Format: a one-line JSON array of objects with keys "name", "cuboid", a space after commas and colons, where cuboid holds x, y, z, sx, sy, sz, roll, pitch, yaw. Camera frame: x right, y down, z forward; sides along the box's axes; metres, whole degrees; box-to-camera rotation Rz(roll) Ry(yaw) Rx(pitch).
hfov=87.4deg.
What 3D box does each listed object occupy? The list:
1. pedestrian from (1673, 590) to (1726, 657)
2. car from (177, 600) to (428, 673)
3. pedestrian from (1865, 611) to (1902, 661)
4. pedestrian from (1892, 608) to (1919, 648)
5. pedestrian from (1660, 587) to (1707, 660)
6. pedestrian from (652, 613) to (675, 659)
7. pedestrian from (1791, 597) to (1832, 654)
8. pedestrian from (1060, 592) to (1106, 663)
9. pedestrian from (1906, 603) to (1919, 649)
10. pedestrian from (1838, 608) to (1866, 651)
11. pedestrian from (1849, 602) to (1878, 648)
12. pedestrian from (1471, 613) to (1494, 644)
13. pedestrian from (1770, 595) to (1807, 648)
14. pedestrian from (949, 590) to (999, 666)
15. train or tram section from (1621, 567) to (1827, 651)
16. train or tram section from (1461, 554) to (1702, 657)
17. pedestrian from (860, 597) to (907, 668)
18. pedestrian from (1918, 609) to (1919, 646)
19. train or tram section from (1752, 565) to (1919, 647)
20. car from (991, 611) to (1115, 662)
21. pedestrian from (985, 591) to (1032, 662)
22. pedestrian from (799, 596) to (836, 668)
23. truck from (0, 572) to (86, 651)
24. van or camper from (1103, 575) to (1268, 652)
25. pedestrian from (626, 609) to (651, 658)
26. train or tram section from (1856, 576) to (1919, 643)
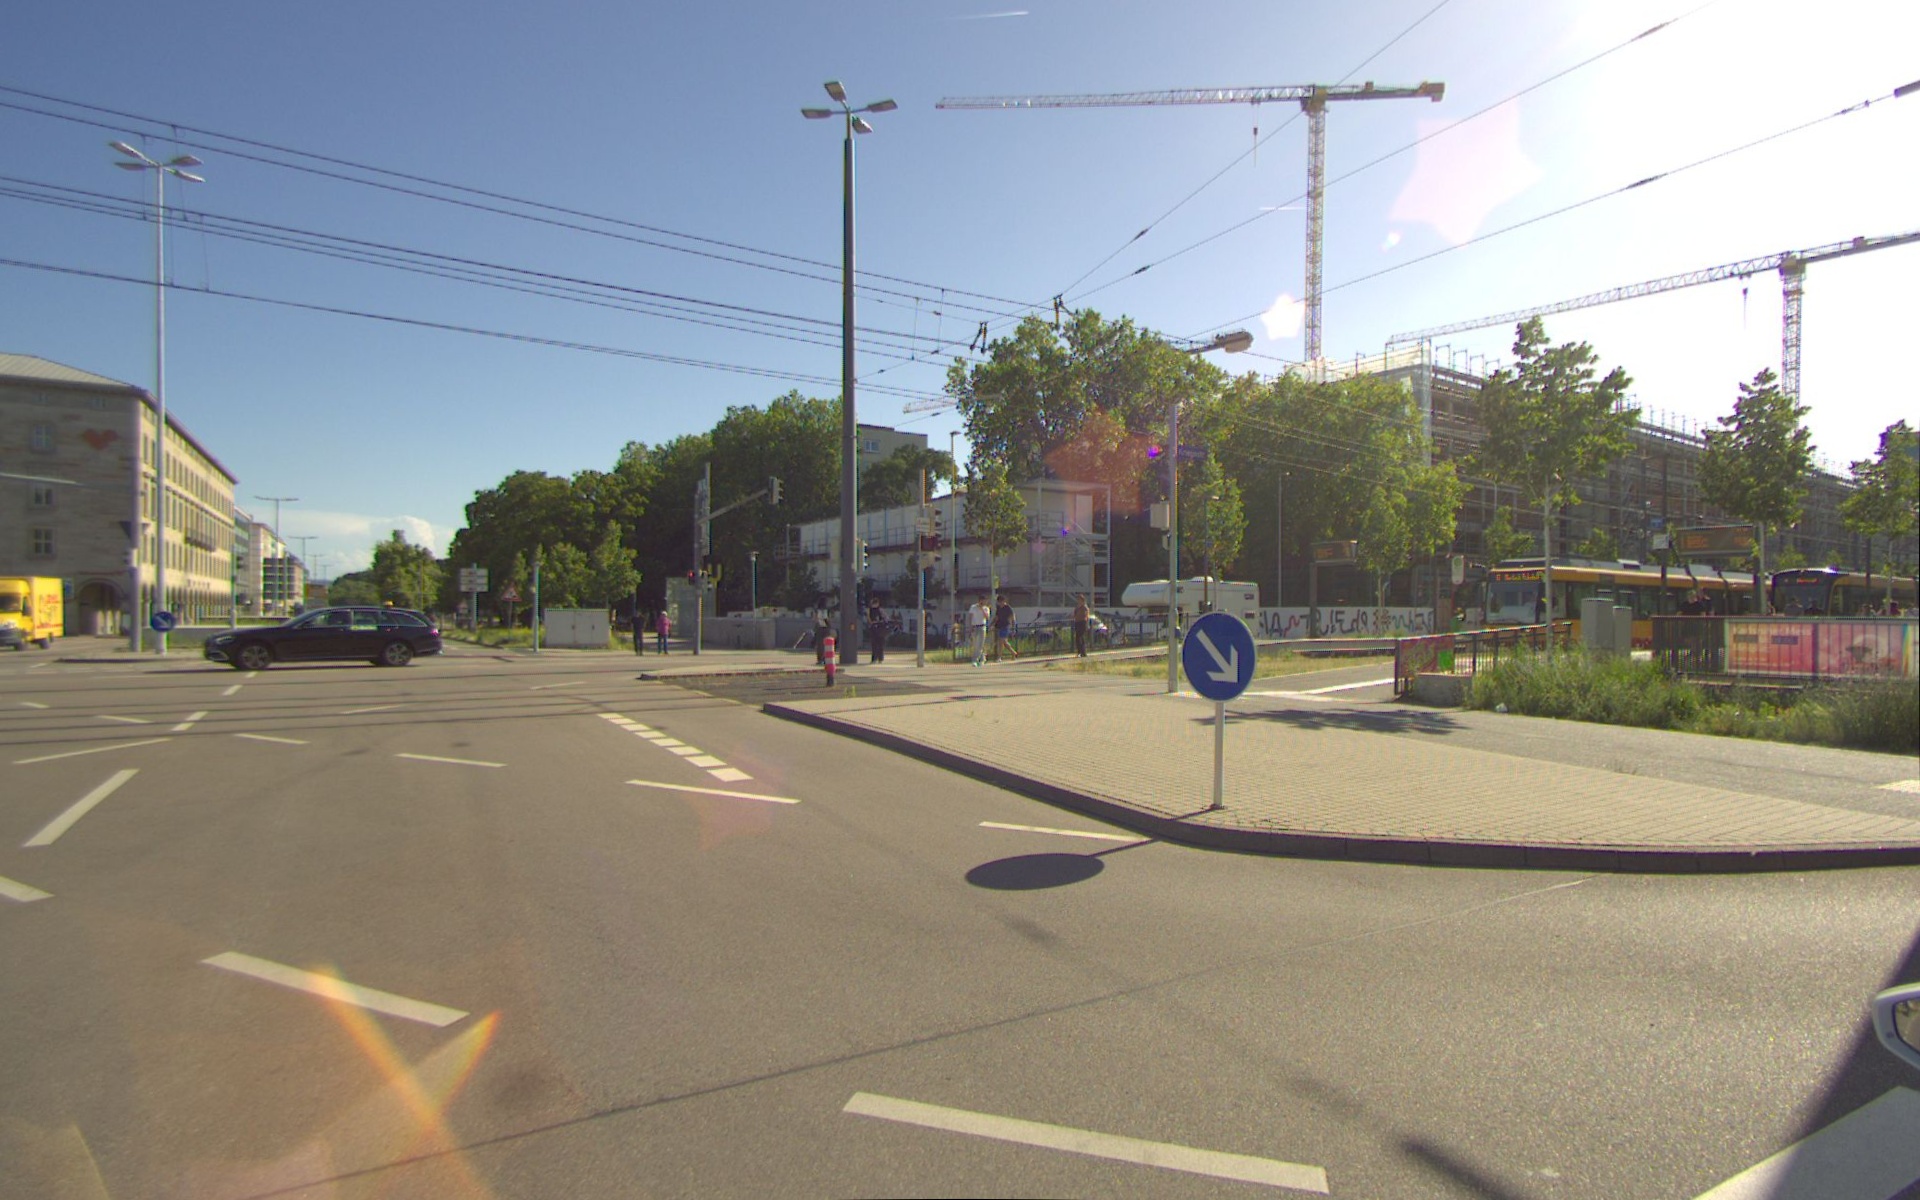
[{"name": "pedestrian", "cuboid": [20.481, 0.629, 27.813, 1.178, 1.799, 0.867, 0, 2, -38]}, {"name": "car", "cuboid": [-15.820, 0.830, 24.362, 1.973, 1.582, 4.799, 0, -1, 45]}, {"name": "pedestrian", "cuboid": [31.350, 1.216, 34.105, 0.852, 1.650, 0.737, 1, 0, -34]}, {"name": "pedestrian", "cuboid": [40.894, 1.206, 43.412, 0.852, 1.717, 0.737, 1, 0, -34]}, {"name": "pedestrian", "cuboid": [18.346, 0.571, 25.466, 0.951, 1.799, 0.697, 0, 2, -38]}, {"name": "pedestrian", "cuboid": [-11.998, 1.434, 40.628, 0.686, 1.847, 0.596, 0, 0, 18]}, {"name": "pedestrian", "cuboid": [27.821, 0.822, 32.809, 0.970, 1.799, 0.785, 0, 2, -38]}, {"name": "pedestrian", "cuboid": [3.282, 0.731, 26.801, 0.967, 1.847, 0.794, 0, 0, -37]}, {"name": "pedestrian", "cuboid": [39.599, 1.076, 41.255, 0.997, 1.875, 0.881, 1, 0, -35]}, {"name": "pedestrian", "cuboid": [33.039, 1.084, 37.192, 0.583, 1.533, 0.642, 0, 2, -37]}, {"name": "pedestrian", "cuboid": [36.613, 1.013, 40.710, 1.064, 1.835, 0.667, 1, -1, -36]}, {"name": "pedestrian", "cuboid": [21.529, 1.161, 41.387, 0.501, 1.242, 0.666, 1, 1, -37]}, {"name": "pedestrian", "cuboid": [28.636, 0.735, 34.718, 0.819, 1.799, 0.755, 0, 2, -37]}, {"name": "pedestrian", "cuboid": [0.347, 0.682, 24.810, 0.967, 1.847, 0.794, 0, 0, -37]}, {"name": "train or tram section", "cuboid": [35.364, 0.424, 46.057, 15.807, 3.366, 2.828, 1, 2, -35]}, {"name": "train or tram section", "cuboid": [23.721, 0.240, 37.825, 12.943, 3.354, 2.851, 1, 1, -35]}, {"name": "pedestrian", "cuboid": [-2.039, 0.864, 26.829, 0.967, 1.847, 0.794, 0, 0, -37]}, {"name": "pedestrian", "cuboid": [43.688, 1.233, 45.162, 0.852, 1.650, 0.737, 1, 0, -34]}, {"name": "train or tram section", "cuboid": [41.177, 0.322, 46.516, 15.034, 3.323, 2.851, 1, 1, -35]}, {"name": "car", "cuboid": [3.421, 1.306, 36.677, 4.326, 1.730, 1.932, 1, -1, -36]}, {"name": "pedestrian", "cuboid": [1.301, 0.703, 26.935, 0.967, 1.847, 0.794, 0, 0, -37]}, {"name": "pedestrian", "cuboid": [-3.720, 0.818, 26.193, 0.865, 1.847, 0.802, 0, 0, -2]}, {"name": "truck", "cuboid": [-36.739, 0.432, 39.063, 2.433, 2.830, 7.973, 1, -1, -29]}, {"name": "van or camper", "cuboid": [9.426, 0.575, 41.619, 7.272, 2.976, 2.587, 1, -1, -36]}, {"name": "pedestrian", "cuboid": [-12.279, 1.276, 38.394, 0.686, 1.847, 0.596, 0, 0, 18]}, {"name": "train or tram section", "cuboid": [56.213, 0.617, 57.222, 21.923, 3.323, 2.851, 1, 1, -35]}]
